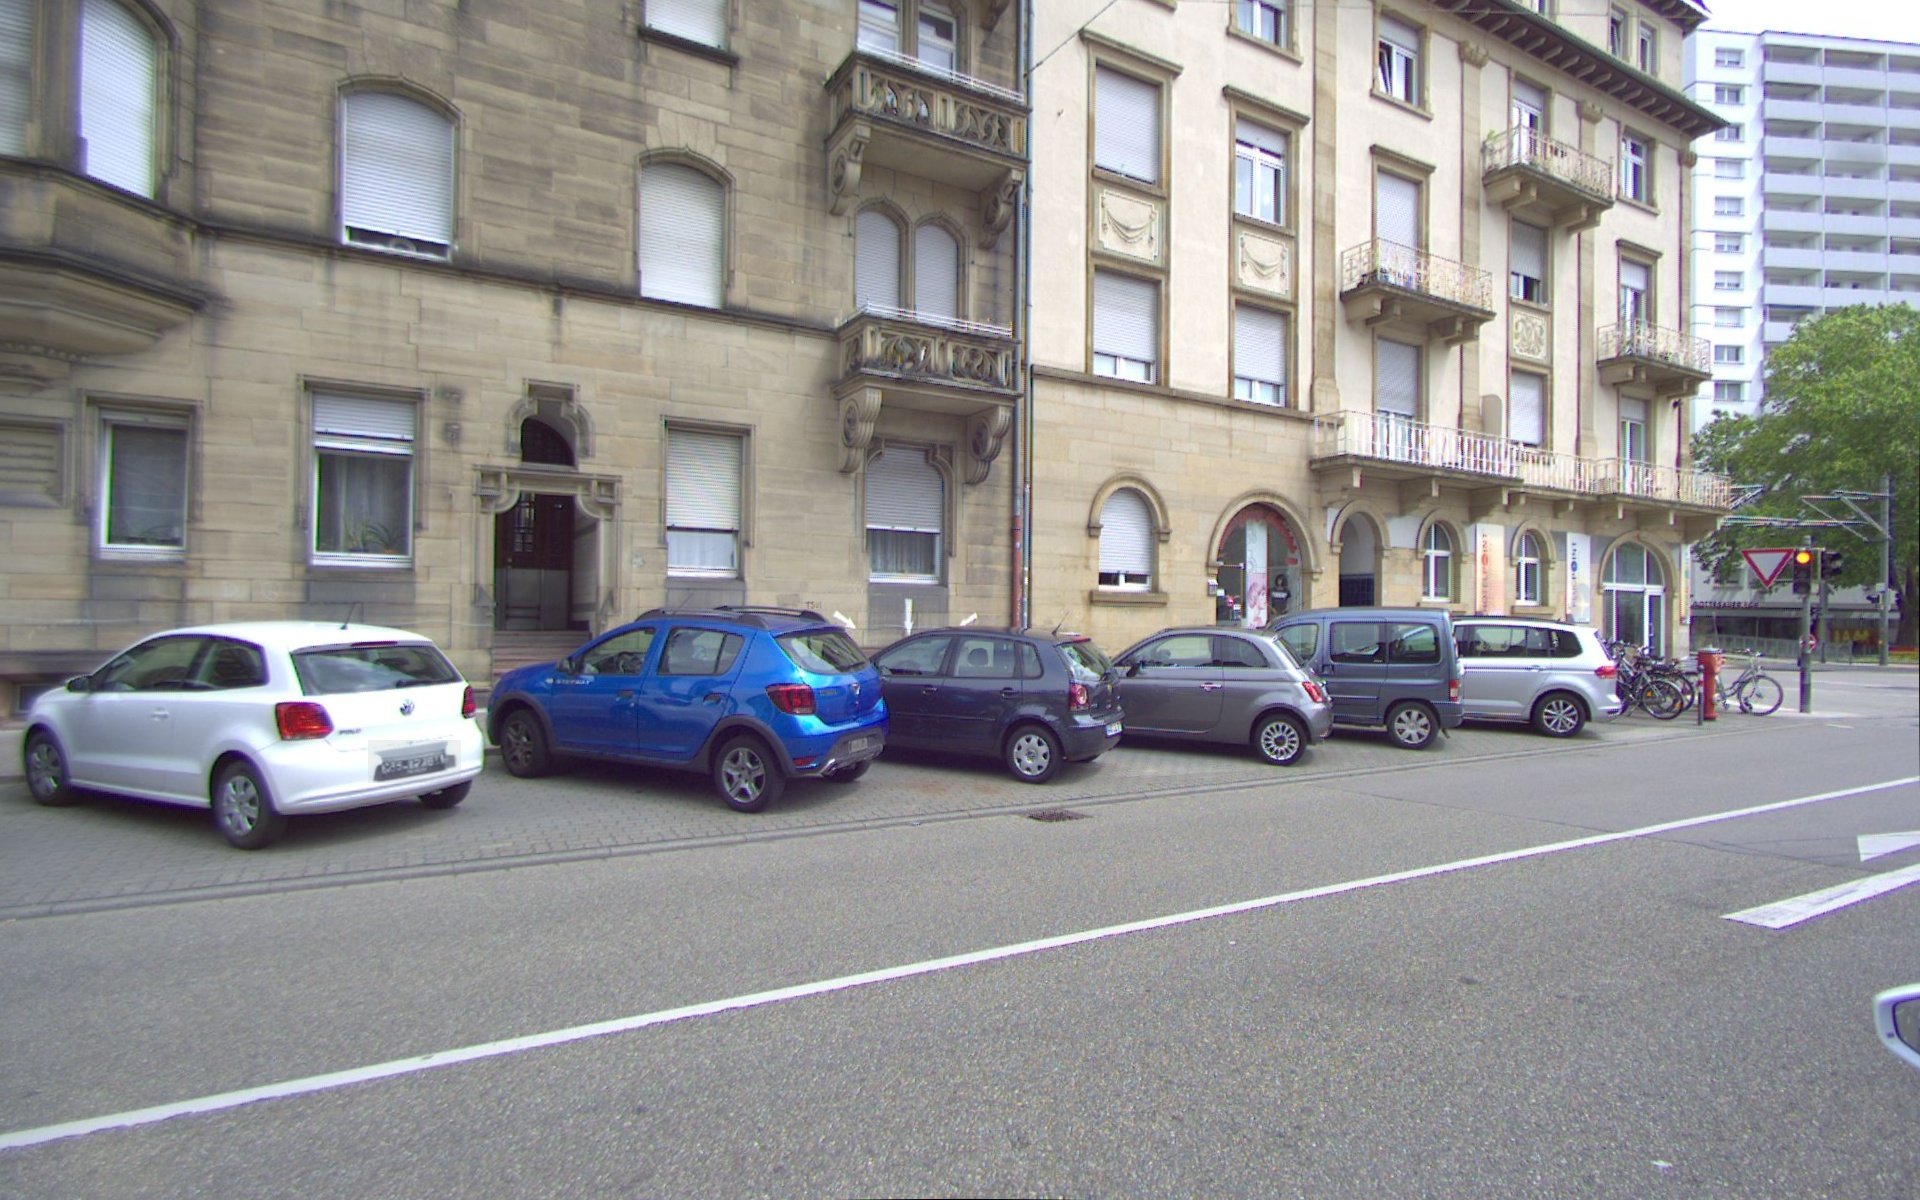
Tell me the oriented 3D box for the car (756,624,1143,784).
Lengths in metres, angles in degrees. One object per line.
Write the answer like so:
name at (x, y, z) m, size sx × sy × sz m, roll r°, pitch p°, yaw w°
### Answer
car at (-0.106, 1.008, 10.990) m, size 3.830 × 1.463 × 1.836 m, roll 0°, pitch -1°, yaw 25°

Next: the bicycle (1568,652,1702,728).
bicycle at (11.073, 1.450, 16.555) m, size 0.586 × 1.135 × 1.805 m, roll 1°, pitch -1°, yaw -23°

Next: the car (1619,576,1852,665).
car at (38.063, 1.012, 50.015) m, size 3.389 × 3.967 × 9.911 m, roll 0°, pitch -1°, yaw -5°

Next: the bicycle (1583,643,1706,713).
bicycle at (12.849, 1.439, 18.896) m, size 0.588 × 1.135 × 1.796 m, roll 1°, pitch 1°, yaw -37°

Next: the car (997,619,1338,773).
car at (2.620, 1.084, 12.592) m, size 3.934 × 1.673 × 1.796 m, roll 0°, pitch -1°, yaw 22°

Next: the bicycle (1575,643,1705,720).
bicycle at (11.993, 1.409, 17.771) m, size 0.588 × 1.182 × 1.796 m, roll 1°, pitch 1°, yaw -37°

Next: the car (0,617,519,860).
car at (-5.464, 0.897, 7.833) m, size 3.616 × 1.501 × 1.741 m, roll 0°, pitch -1°, yaw 25°

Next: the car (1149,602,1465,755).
car at (4.779, 0.997, 14.047) m, size 3.934 × 1.903 × 1.796 m, roll 0°, pitch -1°, yaw 22°

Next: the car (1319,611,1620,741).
car at (7.645, 1.077, 15.485) m, size 3.934 × 1.797 × 1.796 m, roll 0°, pitch -1°, yaw 22°

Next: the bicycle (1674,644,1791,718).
bicycle at (14.265, 1.466, 18.614) m, size 0.489 × 1.182 × 1.878 m, roll 2°, pitch 1°, yaw -9°

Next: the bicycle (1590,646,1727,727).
bicycle at (11.668, 1.413, 16.851) m, size 0.586 × 1.135 × 1.803 m, roll 1°, pitch 2°, yaw -25°

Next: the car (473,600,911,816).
car at (-2.496, 0.864, 9.382) m, size 3.706 × 1.673 × 1.723 m, roll 0°, pitch -1°, yaw 24°

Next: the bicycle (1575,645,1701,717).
bicycle at (12.355, 1.453, 18.365) m, size 0.588 × 1.135 × 1.796 m, roll 1°, pitch 1°, yaw -37°
